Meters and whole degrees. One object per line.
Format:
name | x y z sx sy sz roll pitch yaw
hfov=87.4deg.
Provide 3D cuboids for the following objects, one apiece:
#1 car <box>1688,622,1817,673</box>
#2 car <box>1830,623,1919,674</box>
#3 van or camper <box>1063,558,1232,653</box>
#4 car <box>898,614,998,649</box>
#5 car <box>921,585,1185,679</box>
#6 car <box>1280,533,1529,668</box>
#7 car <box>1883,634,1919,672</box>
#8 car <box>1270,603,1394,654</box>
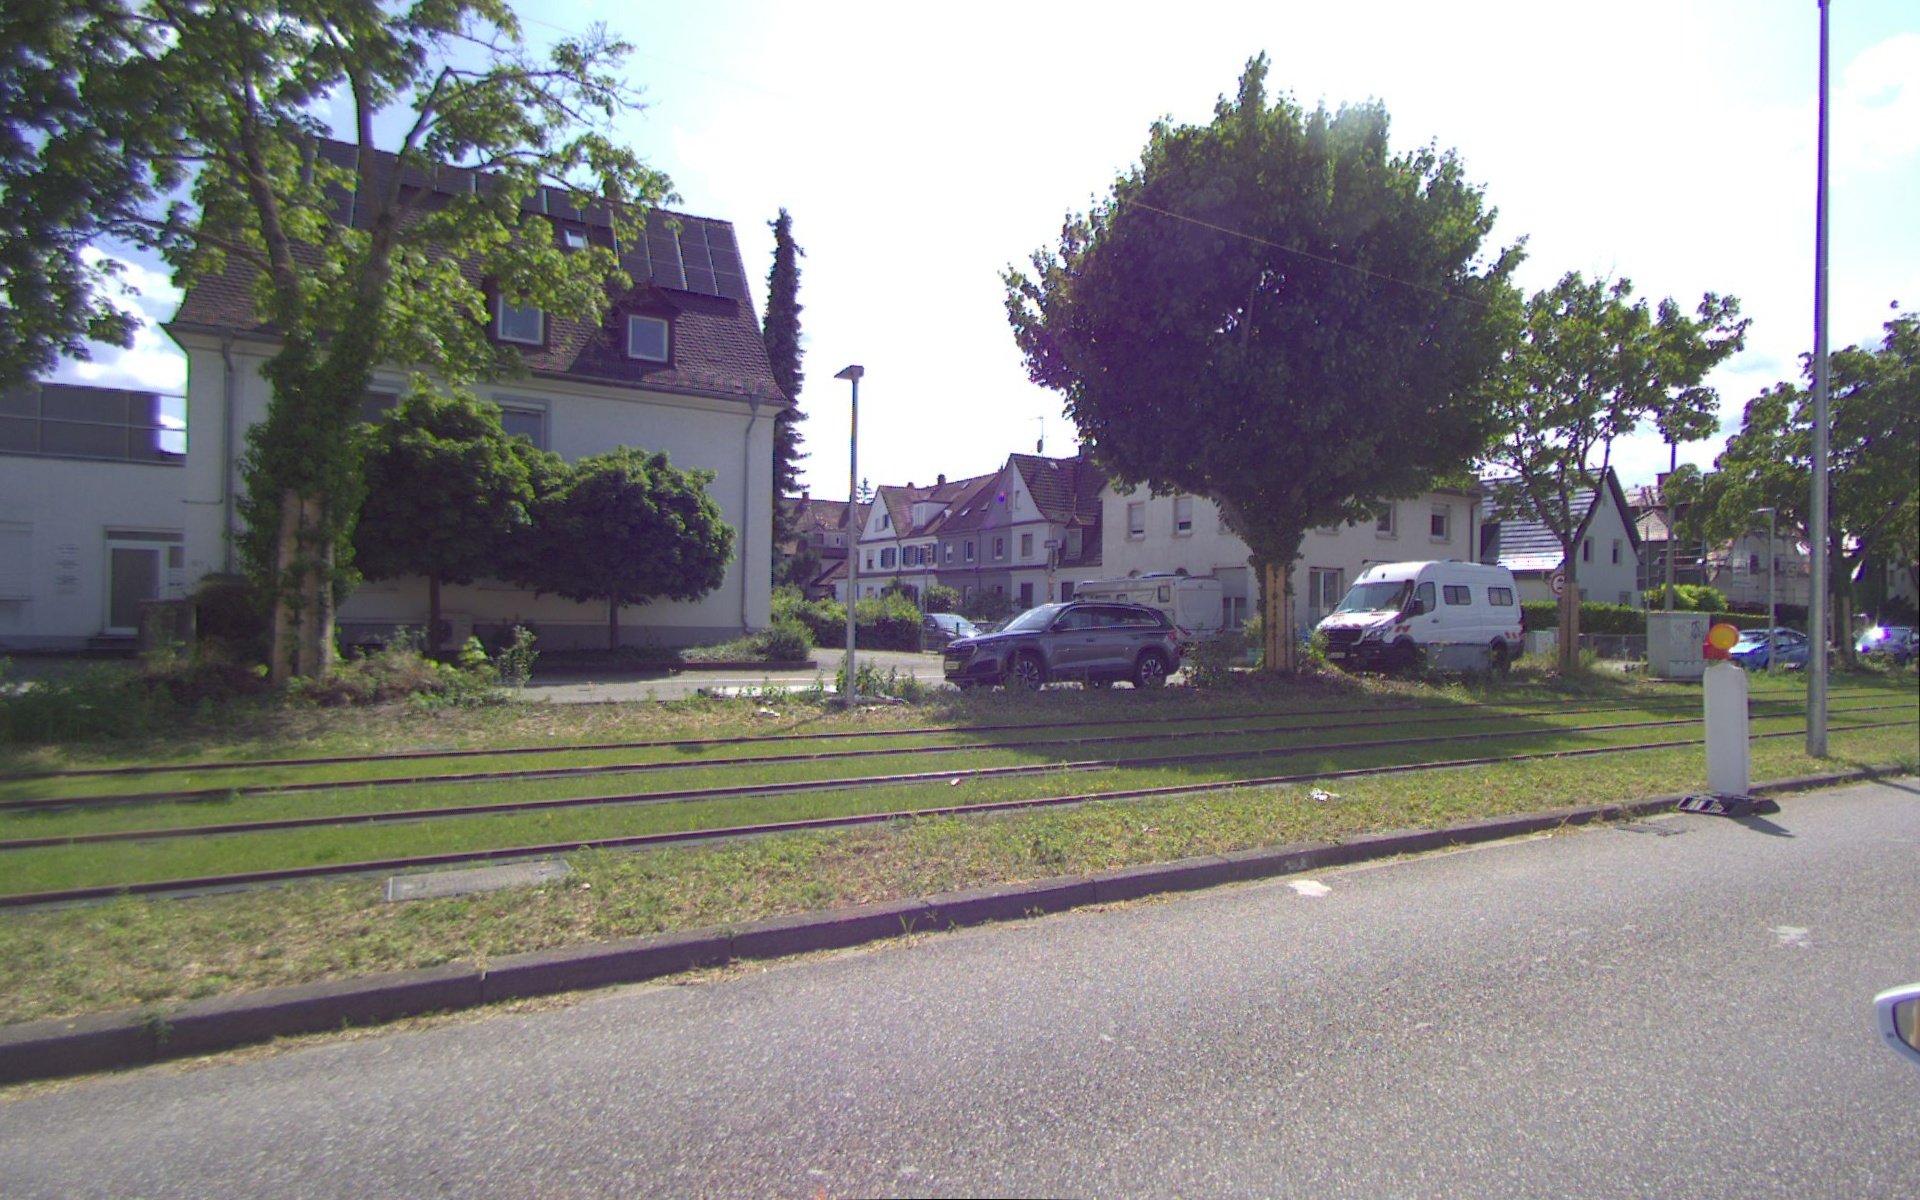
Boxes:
car | 24.824 1.497 31.462 3.840 1.454 1.747 2 -1 -27
car | 33.963 1.788 36.850 4.345 1.713 1.982 3 -2 -33
van or camper | 6.921 0.226 38.107 2.603 3.264 6.698 2 -1 -29
car | -0.492 1.115 36.310 1.976 1.149 3.970 2 -2 -29
car | 1.727 0.618 18.282 4.432 1.525 1.985 3 -1 -29
car | 10.340 0.098 23.133 6.389 2.767 1.983 2 -1 -32
car | 38.757 2.118 39.900 3.953 1.457 1.985 3 -2 -30
car | 12.778 0.985 34.483 3.952 1.598 1.894 3 -1 -29
